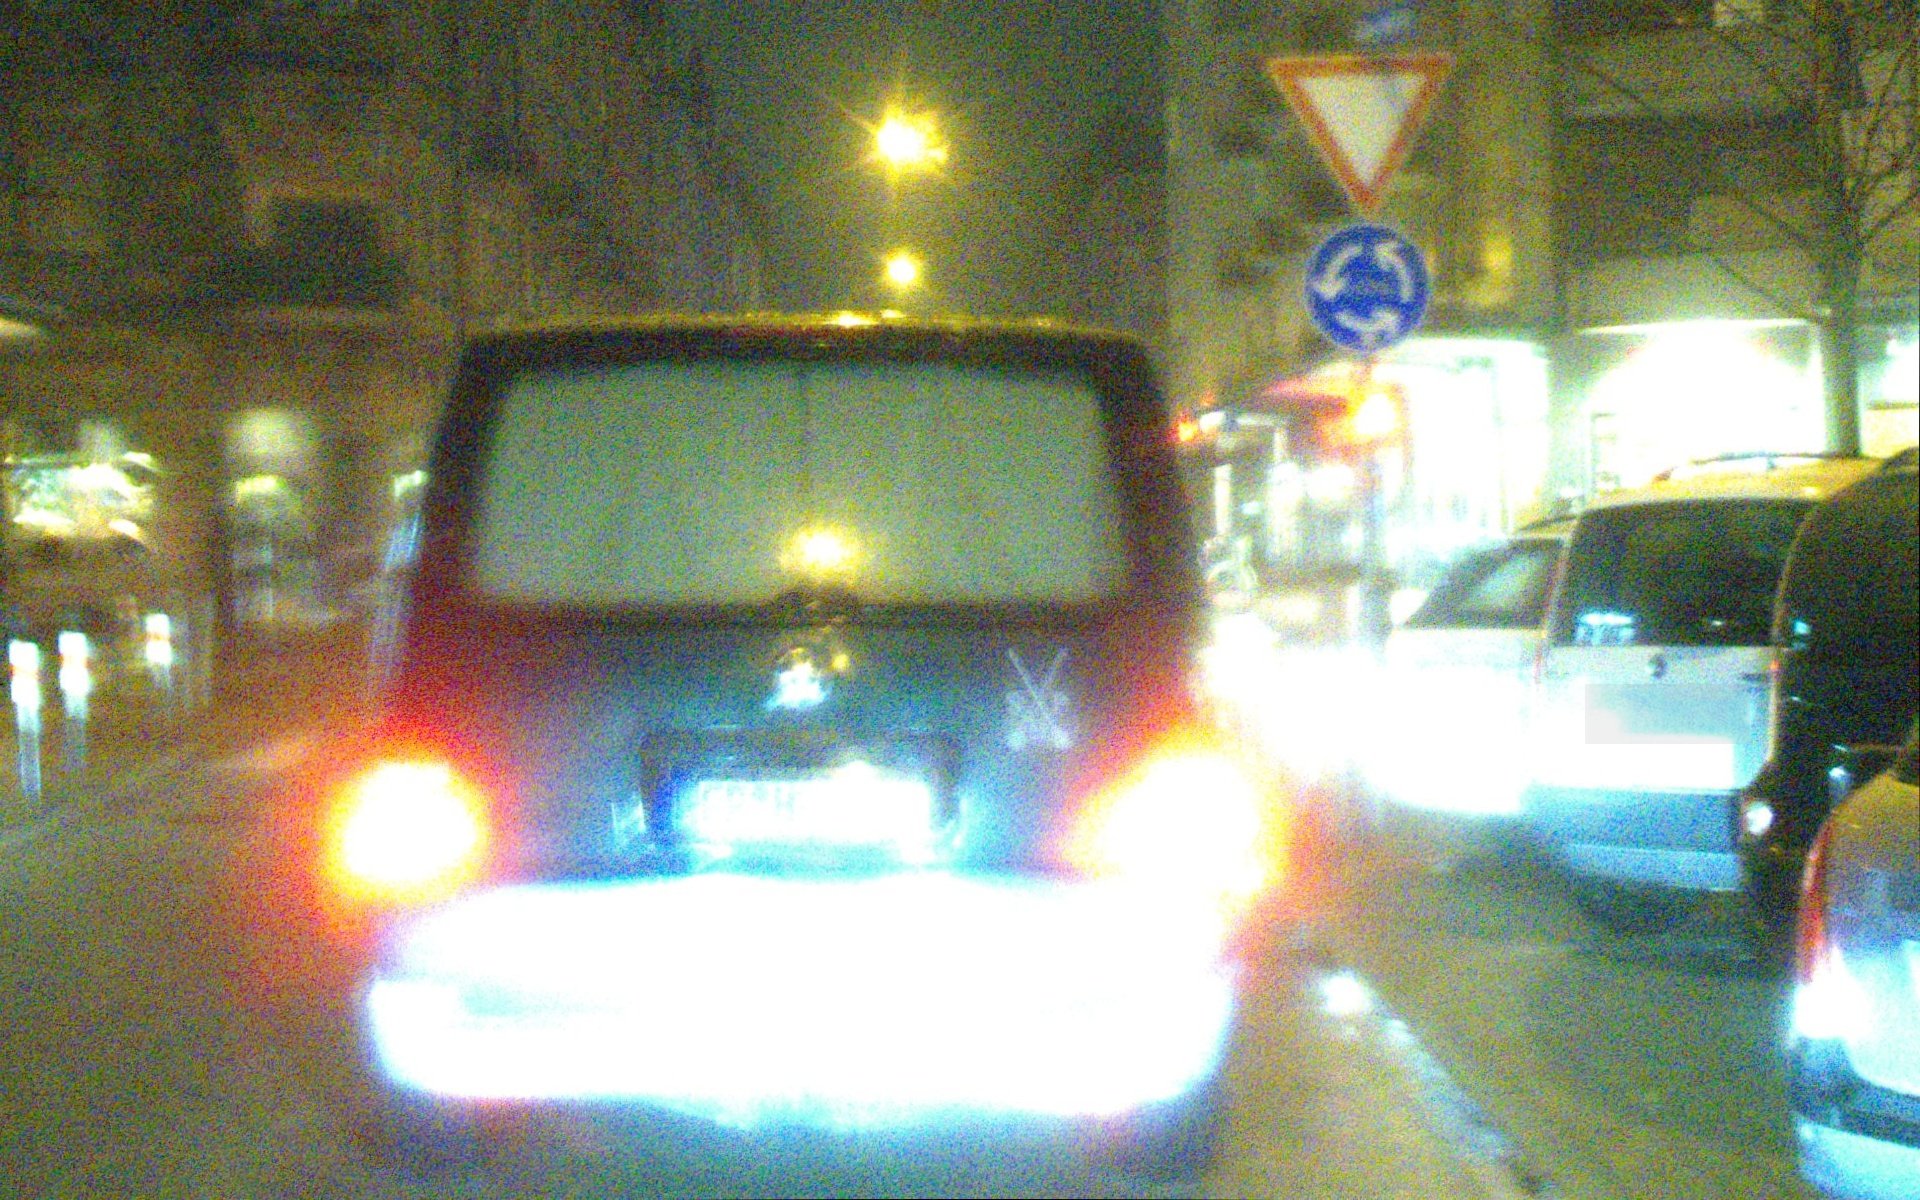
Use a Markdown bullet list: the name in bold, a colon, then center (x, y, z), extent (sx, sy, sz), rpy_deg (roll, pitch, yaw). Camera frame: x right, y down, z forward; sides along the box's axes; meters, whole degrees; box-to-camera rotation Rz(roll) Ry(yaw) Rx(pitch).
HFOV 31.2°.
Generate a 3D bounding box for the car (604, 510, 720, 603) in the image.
- **car**: center (-5.004, -0.762, 58.035), extent (1.586, 1.458, 4.024), rpy_deg (2, 2, 0)

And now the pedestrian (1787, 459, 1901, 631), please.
- **pedestrian**: center (9.561, -0.597, 37.184), extent (0.878, 1.827, 0.982), rpy_deg (0, 1, 35)

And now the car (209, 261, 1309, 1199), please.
- **car**: center (-0.406, 0.289, 8.991), extent (2.122, 1.984, 4.601), rpy_deg (-1, 1, 0)

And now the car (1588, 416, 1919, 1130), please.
- **car**: center (3.730, 0.310, 9.390), extent (3.782, 1.706, 1.748), rpy_deg (-4, 2, -35)

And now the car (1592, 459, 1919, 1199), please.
- **car**: center (3.322, 0.458, 6.420), extent (4.060, 1.592, 1.834), rpy_deg (-4, 2, -35)

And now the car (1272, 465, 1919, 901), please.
- **car**: center (3.638, 0.233, 14.772), extent (4.249, 1.568, 1.772), rpy_deg (-4, 2, -29)

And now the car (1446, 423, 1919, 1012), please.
- **car**: center (3.682, 0.244, 11.775), extent (3.729, 1.706, 1.771), rpy_deg (-4, 2, -35)
